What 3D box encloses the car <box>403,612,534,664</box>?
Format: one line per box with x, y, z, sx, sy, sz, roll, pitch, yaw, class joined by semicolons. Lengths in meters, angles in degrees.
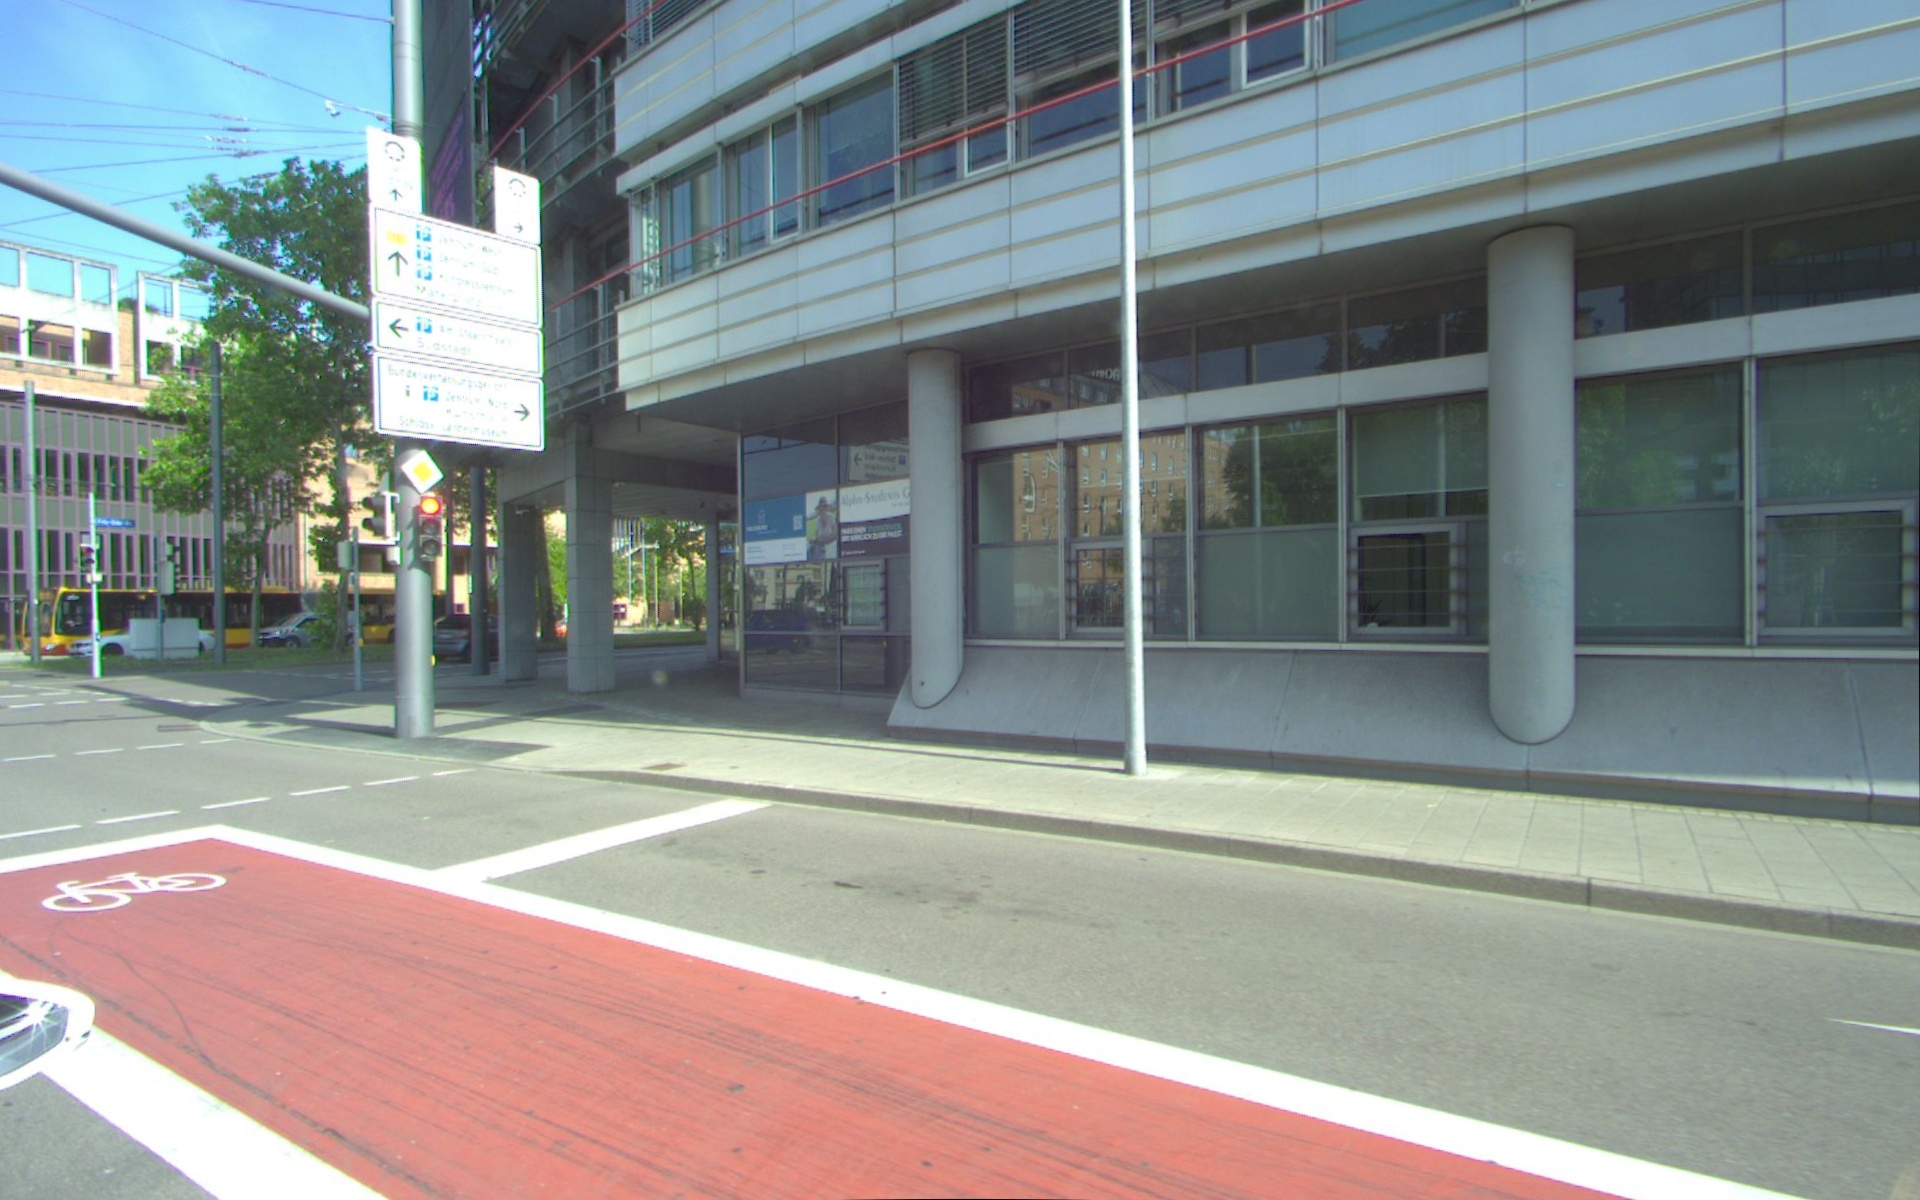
-15.784;1.171;32.357;1.673;1.512;3.594;3;1;22;car

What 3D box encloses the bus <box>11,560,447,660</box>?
-33.043;0.513;47.472;2.818;3.859;17.617;-2;-1;24;bus

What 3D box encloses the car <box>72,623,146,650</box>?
-32.806;1.396;38.625;1.078;0.970;1.947;-1;0;32;car
